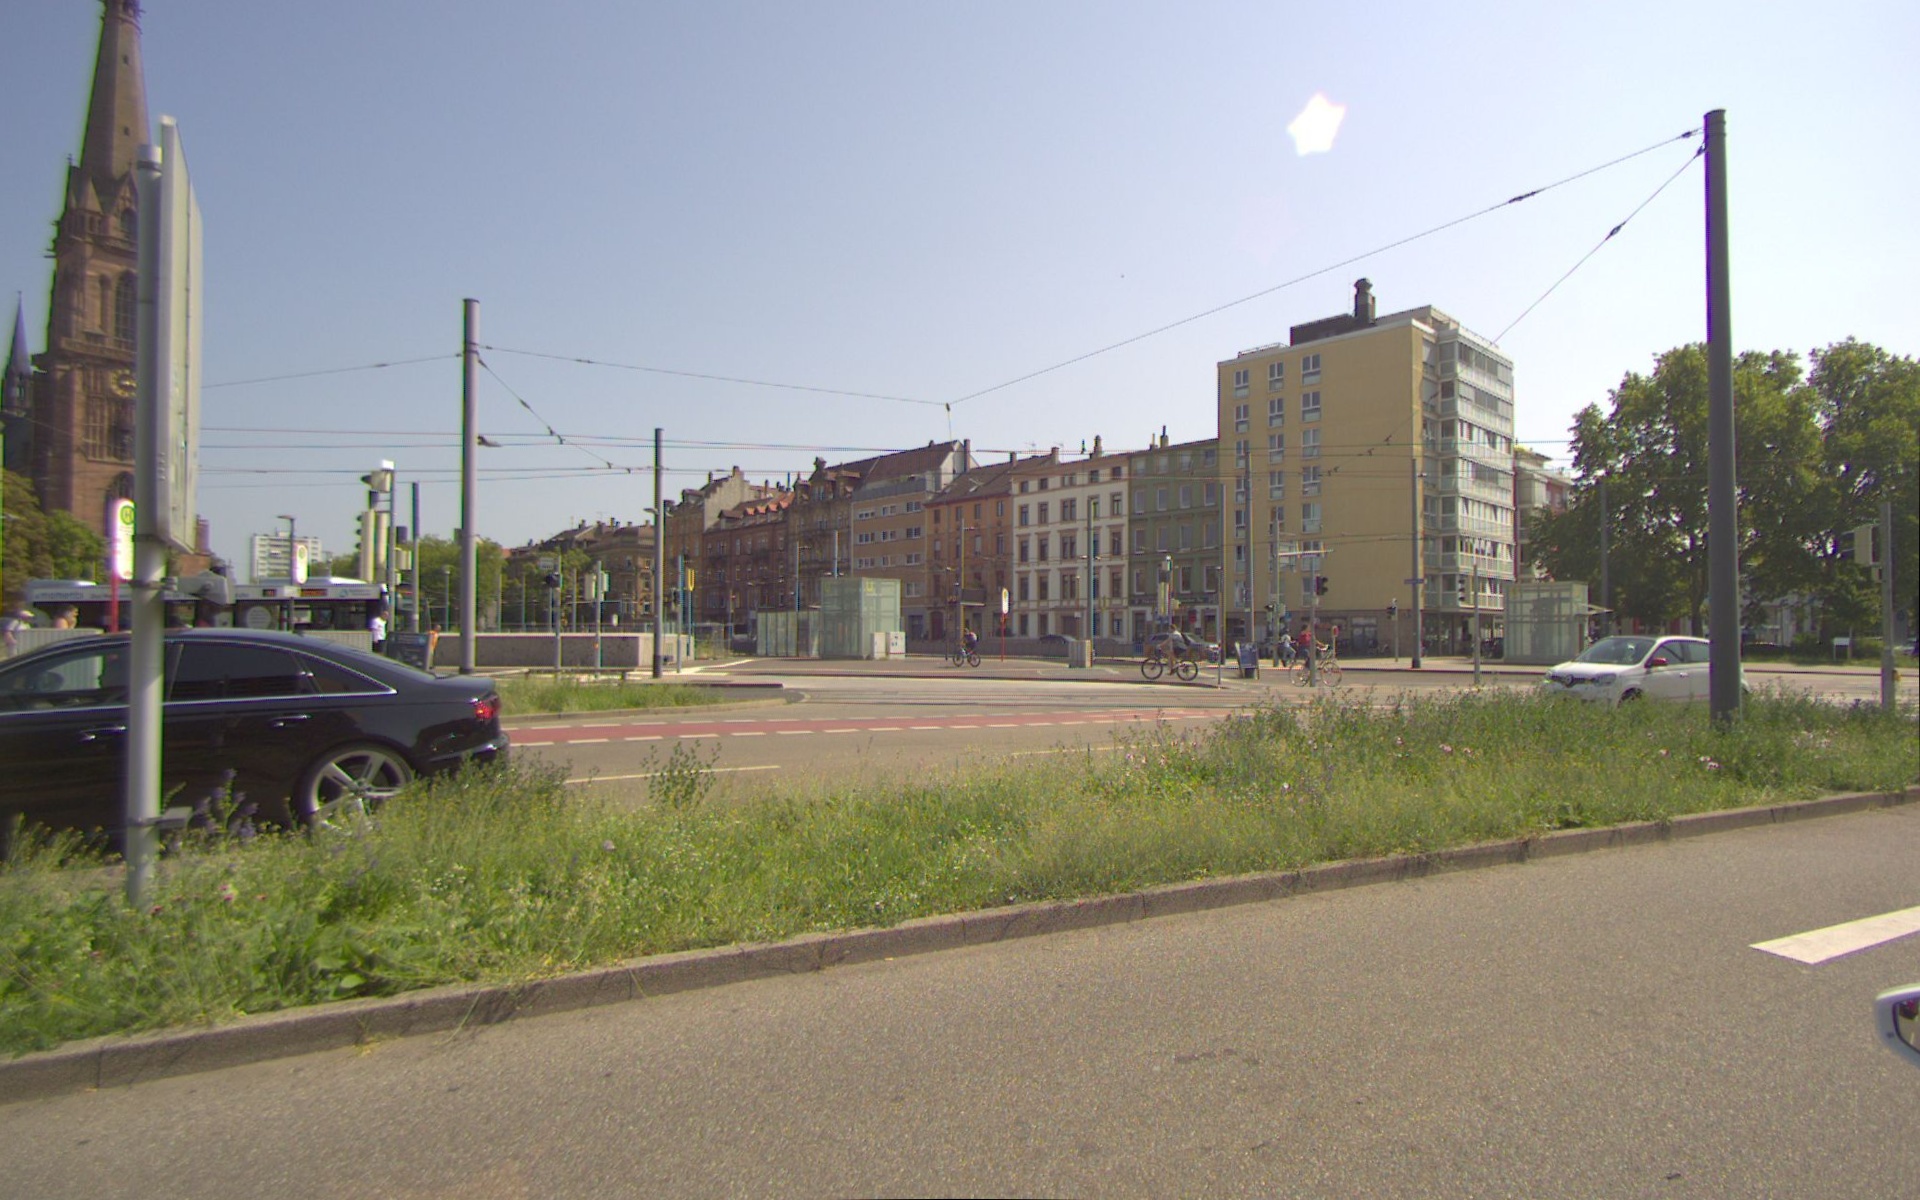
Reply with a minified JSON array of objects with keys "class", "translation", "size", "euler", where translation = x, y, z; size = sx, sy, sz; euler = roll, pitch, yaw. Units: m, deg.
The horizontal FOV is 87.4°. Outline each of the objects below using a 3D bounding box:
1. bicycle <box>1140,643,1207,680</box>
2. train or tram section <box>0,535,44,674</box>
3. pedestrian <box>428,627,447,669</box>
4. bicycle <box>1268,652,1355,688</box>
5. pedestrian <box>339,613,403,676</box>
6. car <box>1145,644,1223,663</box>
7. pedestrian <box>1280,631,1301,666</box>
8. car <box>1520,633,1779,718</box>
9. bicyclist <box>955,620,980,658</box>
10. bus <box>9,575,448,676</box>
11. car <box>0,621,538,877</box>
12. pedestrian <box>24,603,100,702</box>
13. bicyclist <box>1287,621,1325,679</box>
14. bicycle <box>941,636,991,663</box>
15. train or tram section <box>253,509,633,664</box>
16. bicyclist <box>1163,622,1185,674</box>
[{"class":"bicycle","translation":[6.821,1.966,32.169],"size":[2.002,1.152,0.699],"euler":[0,-2,4]},{"class":"train or tram section","translation":[-29.071,0.166,25.791],"size":[8.082,3.616,3.146],"euler":[-1,-3,0]},{"class":"pedestrian","translation":[-20.149,1.847,38.714],"size":[0.457,1.633,0.465],"euler":[0,-1,0]},{"class":"bicycle","translation":[10.126,2.016,29.015],"size":[0.599,0.966,2.386],"euler":[2,-3,-43]},{"class":"pedestrian","translation":[-18.259,1.383,31.169],"size":[1.284,1.910,1.039],"euler":[0,-3,2]},{"class":"car","translation":[12.245,2.901,55.049],"size":[3.839,1.000,1.707],"euler":[-2,-3,42]},{"class":"pedestrian","translation":[16.021,2.345,48.701],"size":[0.809,1.654,0.642],"euler":[2,-3,-43]},{"class":"car","translation":[12.669,1.344,18.518],"size":[3.998,1.443,1.771],"euler":[1,-2,-15]},{"class":"bicyclist","translation":[0.342,1.744,45.335],"size":[0.958,1.675,0.661],"euler":[-1,-2,31]},{"class":"bus","translation":[-23.844,0.866,33.202],"size":[12.235,3.111,3.108],"euler":[0,-2,1]},{"class":"car","translation":[-5.577,0.900,6.890],"size":[4.714,1.429,1.760],"euler":[2,0,-33]},{"class":"pedestrian","translation":[-16.031,0.929,17.948],"size":[0.616,1.725,0.787],"euler":[0,-2,-4]},{"class":"bicyclist","translation":[10.035,1.443,29.119],"size":[0.602,1.664,0.831],"euler":[1,-2,-44]},{"class":"bicycle","translation":[0.302,2.216,45.263],"size":[0.958,1.194,2.826],"euler":[-1,-2,31]},{"class":"train or tram section","translation":[-12.960,-0.237,25.789],"size":[8.082,3.616,3.146],"euler":[-1,-3,0]},{"class":"bicyclist","translation":[6.843,1.533,32.187],"size":[0.607,1.671,0.693],"euler":[0,-2,4]}]
